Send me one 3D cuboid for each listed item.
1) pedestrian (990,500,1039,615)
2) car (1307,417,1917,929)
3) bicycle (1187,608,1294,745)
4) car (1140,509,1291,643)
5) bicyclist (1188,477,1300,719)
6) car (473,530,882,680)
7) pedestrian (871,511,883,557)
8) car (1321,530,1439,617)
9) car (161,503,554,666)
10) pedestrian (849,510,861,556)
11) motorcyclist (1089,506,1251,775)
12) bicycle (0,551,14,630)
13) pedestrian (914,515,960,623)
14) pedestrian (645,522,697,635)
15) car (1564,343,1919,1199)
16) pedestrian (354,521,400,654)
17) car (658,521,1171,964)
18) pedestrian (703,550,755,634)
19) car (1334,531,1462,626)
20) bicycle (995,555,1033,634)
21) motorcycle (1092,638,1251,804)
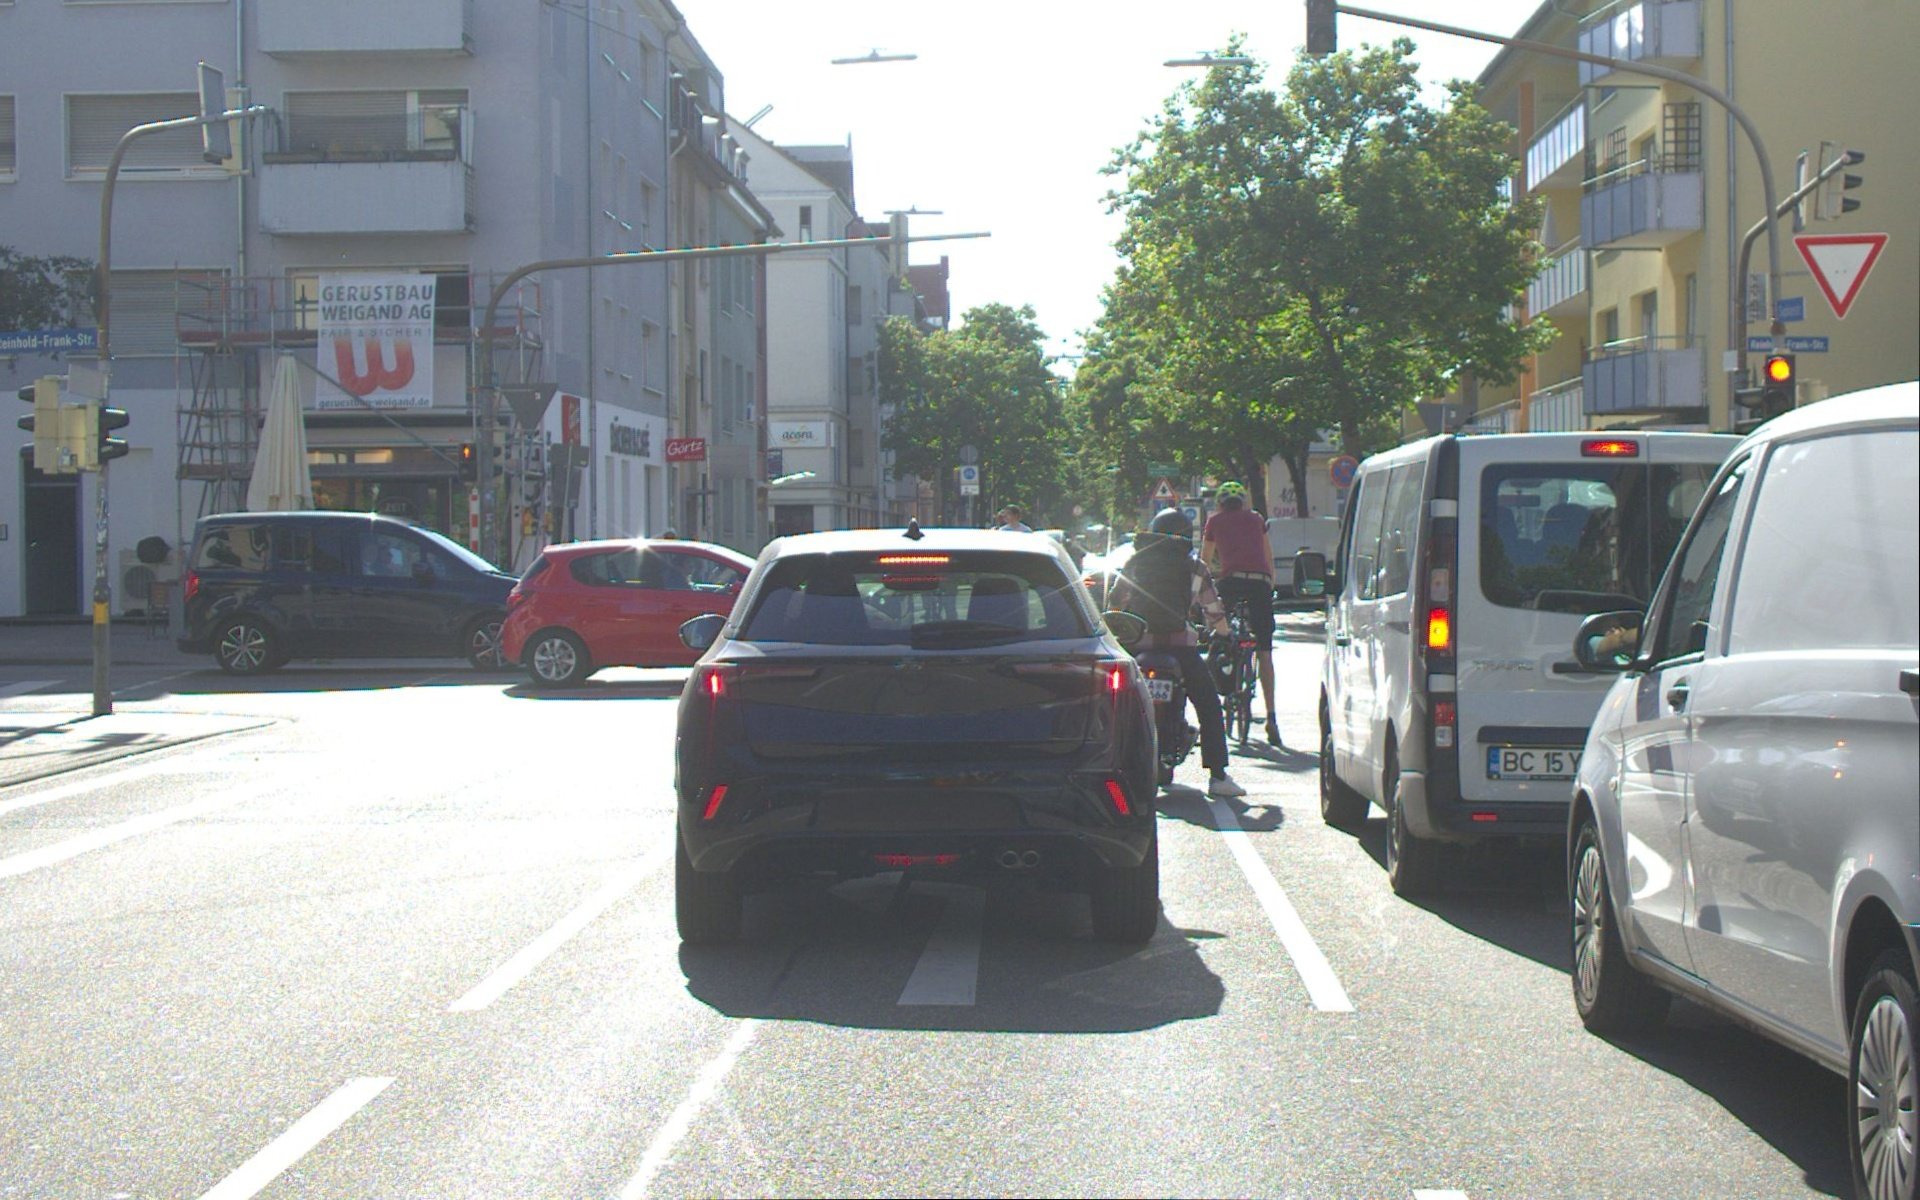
[{"bbox_3d":[0.807,-0.642,51.342,0.707,1.695,0.802,0,1,0],"label":"pedestrian"},{"bbox_3d":[2.778,0.236,15.807,1.993,1.972,4.895,-1,1,2],"label":"car"},{"bbox_3d":[2.034,0.536,25.144,0.577,0.901,2.301,0,1,0],"label":"bicycle"},{"bbox_3d":[3.423,-0.353,46.592,1.902,1.722,4.000,0,1,2],"label":"car"},{"bbox_3d":[2.062,-0.027,25.070,0.689,1.707,1.414,0,1,0],"label":"bicyclist"},{"bbox_3d":[-2.847,0.034,35.291,3.987,1.459,1.831,-1,1,2],"label":"car"},{"bbox_3d":[-3.010,-2.396,124.365,0.402,1.669,0.418,0,1,2],"label":"pedestrian"},{"bbox_3d":[7.212,-0.477,59.312,1.634,1.428,4.000,0,1,2],"label":"car"},{"bbox_3d":[-6.665,-0.191,38.344,4.059,1.722,1.908,-1,1,-1],"label":"car"},{"bbox_3d":[-3.805,-2.432,124.429,0.402,1.669,0.418,0,1,2],"label":"pedestrian"},{"bbox_3d":[1.194,0.213,19.762,0.864,1.497,1.160,0,1,1],"label":"motorcyclist"},{"bbox_3d":[-15.215,-0.125,51.209,2.094,1.168,0.741,-1,1,-21],"label":"bicycle"},{"bbox_3d":[-0.341,-0.470,51.263,0.680,1.600,0.762,0,1,0],"label":"pedestrian"},{"bbox_3d":[-4.331,-0.324,51.553,0.707,1.672,0.802,0,1,0],"label":"pedestrian"},{"bbox_3d":[2.811,0.406,8.351,1.836,1.862,4.996,1,1,1],"label":"car"},{"bbox_3d":[-7.806,-0.170,46.057,0.561,1.769,0.584,0,1,-7],"label":"pedestrian"},{"bbox_3d":[-0.164,0.455,13.985,1.770,1.525,4.000,-1,1,0],"label":"car"},{"bbox_3d":[-3.457,-0.125,51.497,0.707,1.249,0.802,0,1,0],"label":"pedestrian"},{"bbox_3d":[6.896,-0.366,54.430,1.634,1.428,3.956,0,1,2],"label":"car"},{"bbox_3d":[0.803,-0.093,51.440,0.521,1.143,2.170,0,1,0],"label":"bicycle"},{"bbox_3d":[1.192,0.669,19.706,0.825,0.842,1.885,0,1,1],"label":"motorcycle"}]
